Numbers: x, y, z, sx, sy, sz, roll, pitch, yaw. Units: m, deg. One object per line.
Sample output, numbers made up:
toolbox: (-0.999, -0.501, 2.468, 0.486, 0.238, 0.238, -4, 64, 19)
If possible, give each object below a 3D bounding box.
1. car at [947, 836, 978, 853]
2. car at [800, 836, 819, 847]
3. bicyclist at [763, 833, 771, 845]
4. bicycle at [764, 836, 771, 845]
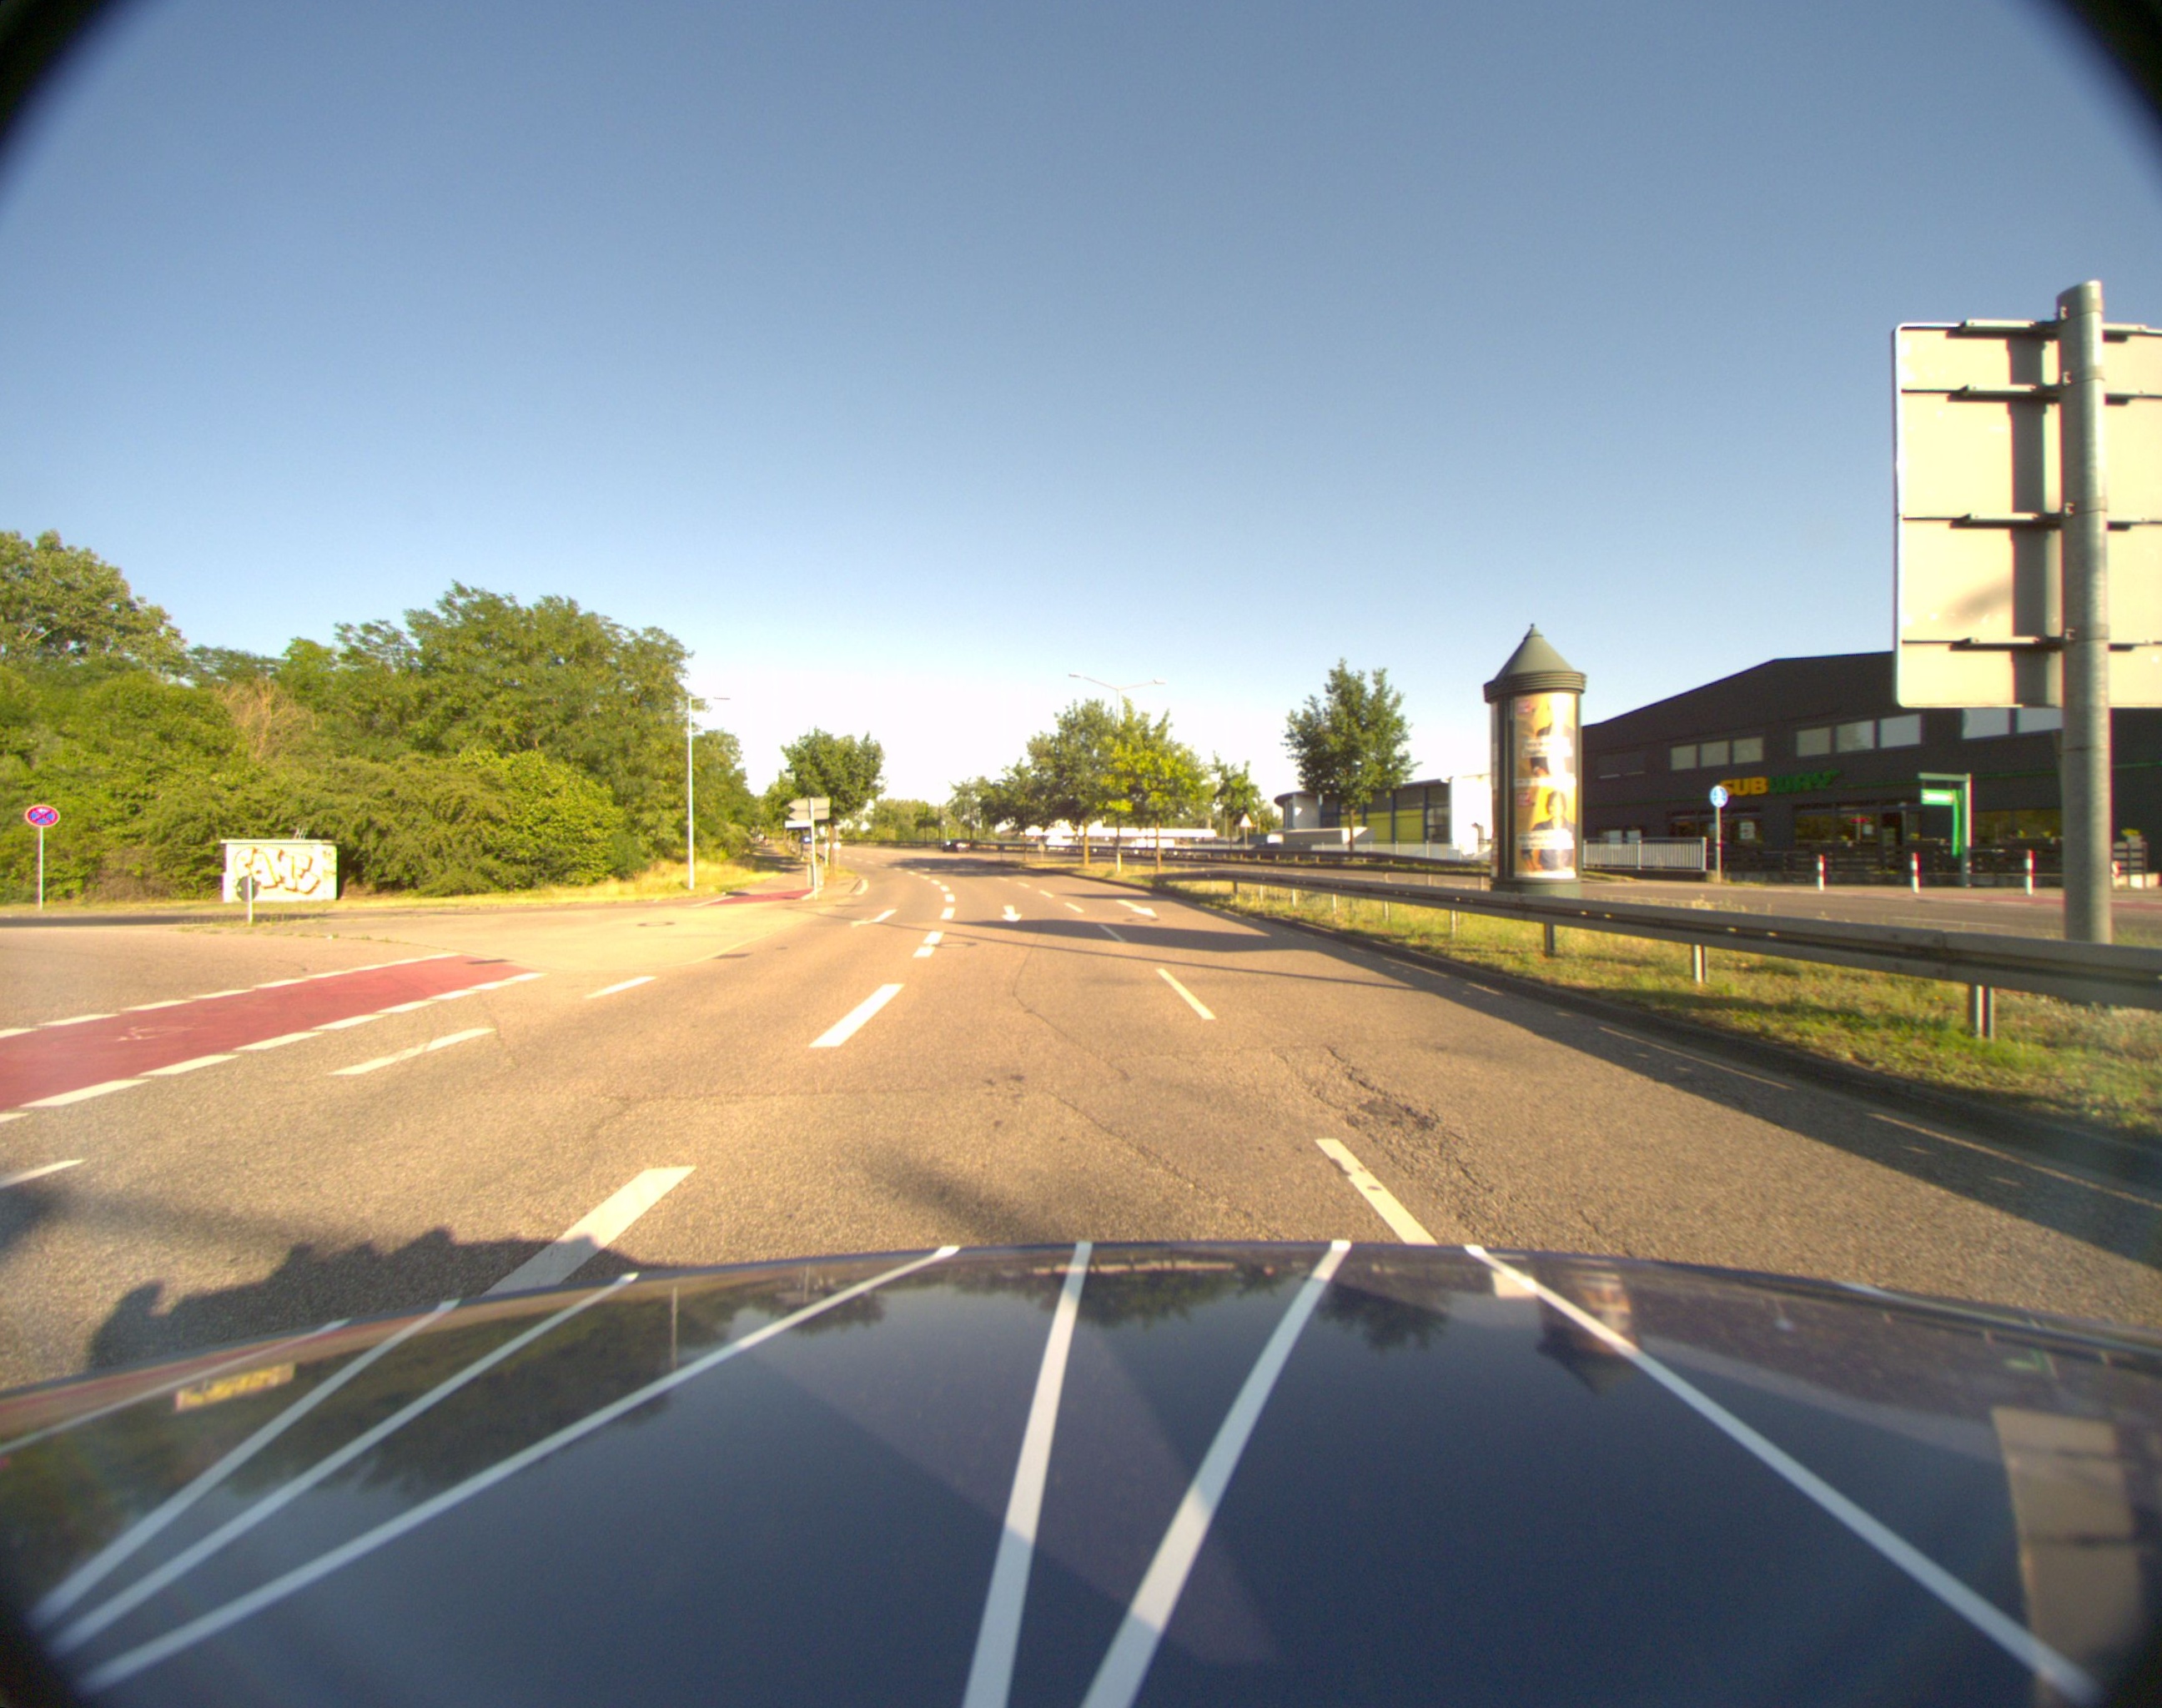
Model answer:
car: (-12.967, -1.016, 82.775, 2.003, 1.761, 3.991, -3, 1, -30)
car: (-46.361, -2.085, 129.729, 2.003, 1.761, 3.989, -3, 1, -37)
bicyclist: (-40.627, -1.930, 98.423, 0.844, 1.413, 1.112, -3, 1, -20)
bicycle: (-40.590, -1.731, 98.436, 0.783, 1.051, 2.492, -3, 1, -21)
